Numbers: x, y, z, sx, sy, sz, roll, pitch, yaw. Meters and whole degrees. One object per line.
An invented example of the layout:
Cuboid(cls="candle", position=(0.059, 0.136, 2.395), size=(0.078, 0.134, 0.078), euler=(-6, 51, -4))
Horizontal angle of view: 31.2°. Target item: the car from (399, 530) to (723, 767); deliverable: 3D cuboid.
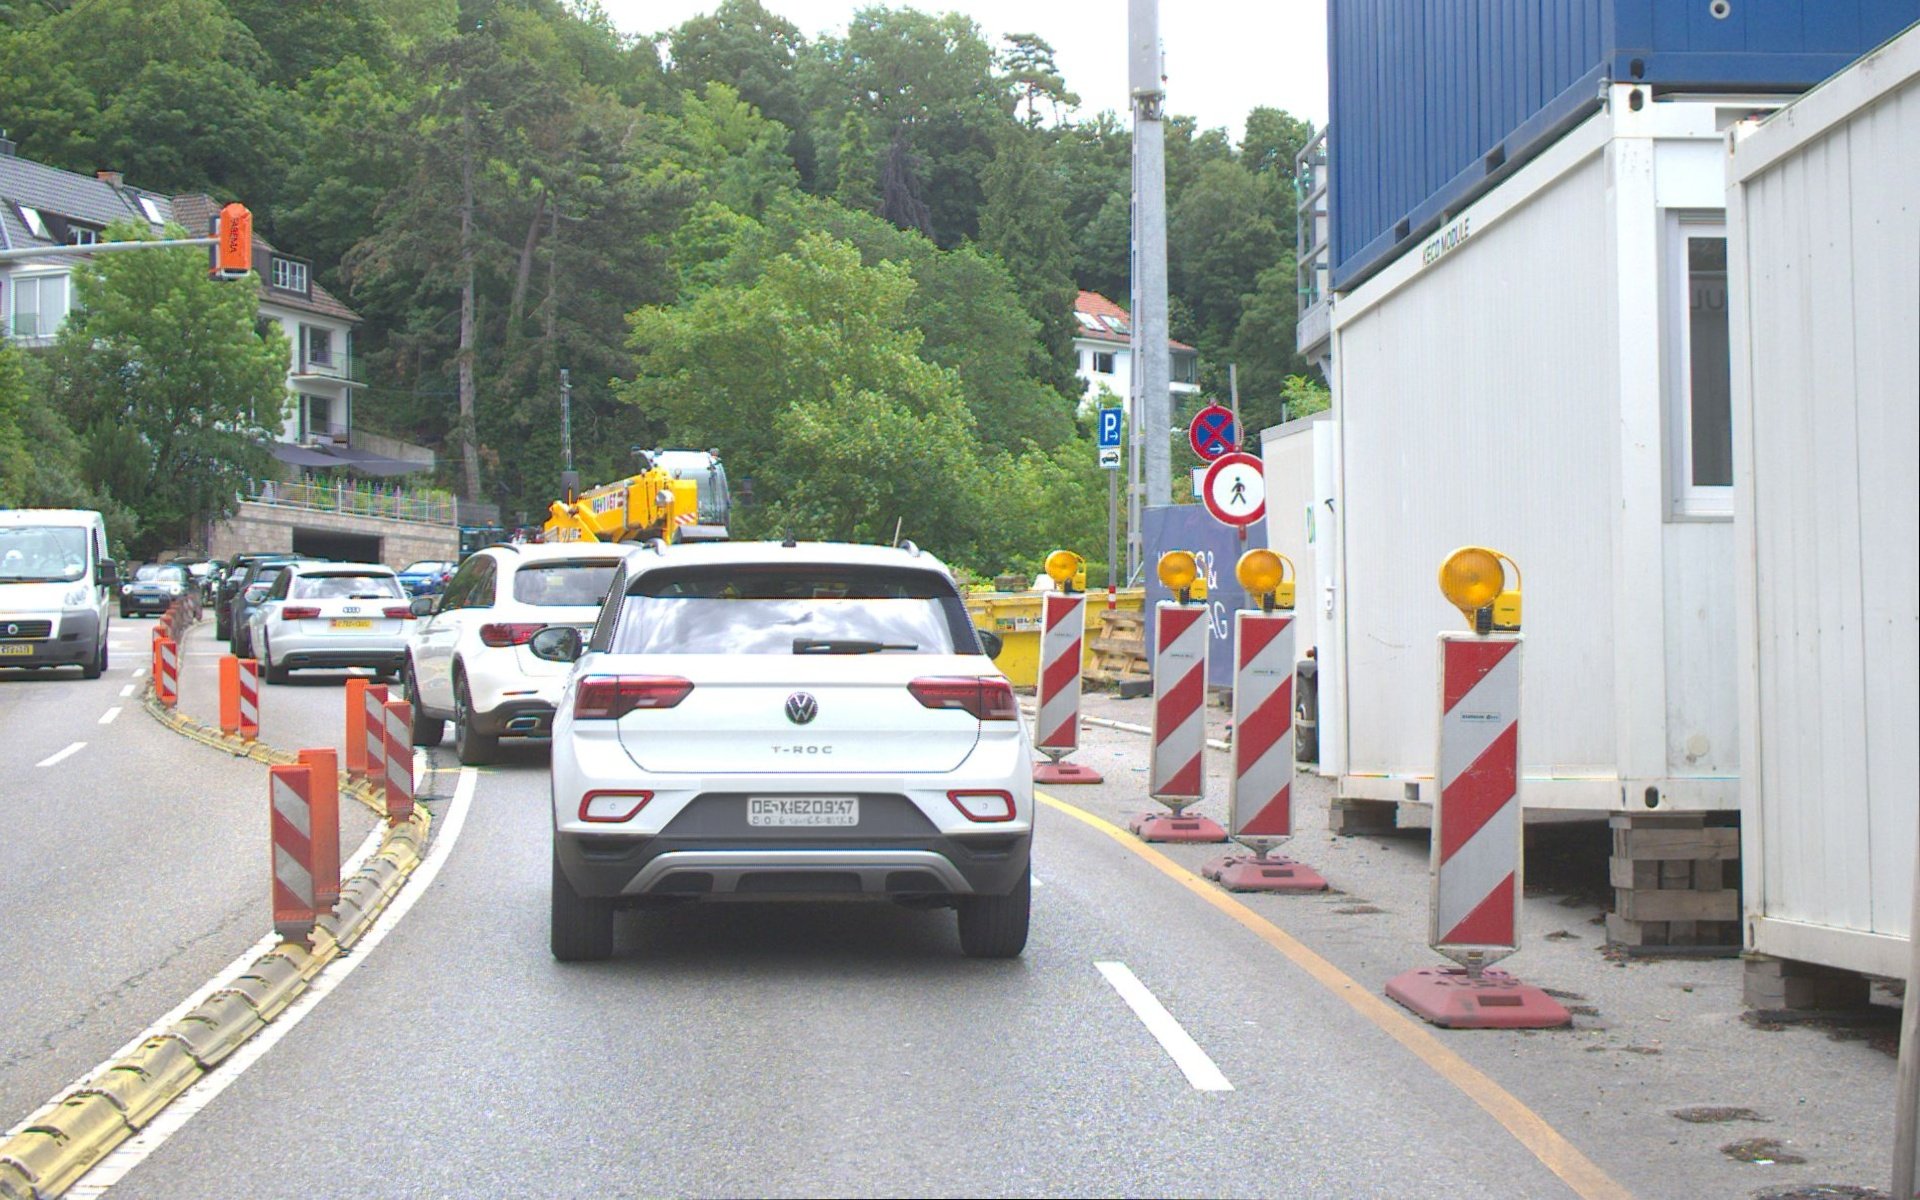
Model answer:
Cuboid(cls="car", position=(-3.153, 0.319, 26.490), size=(1.809, 1.657, 4.001), euler=(-1, 1, -16))

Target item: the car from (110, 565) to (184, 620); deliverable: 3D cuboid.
Cuboid(cls="car", position=(-21.629, -0.214, 91.573), size=(1.671, 1.425, 3.588), euler=(-1, 1, -9))

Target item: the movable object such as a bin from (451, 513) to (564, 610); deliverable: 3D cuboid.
Cuboid(cls="movable object such as a bin", position=(-12.804, -1.108, 97.494), size=(2.212, 2.654, 4.944), euler=(1, 1, 4))

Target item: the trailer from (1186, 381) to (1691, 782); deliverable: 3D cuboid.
Cuboid(cls="trailer", position=(3.287, -0.161, 24.864), size=(2.106, 2.541, 5.120), euler=(-2, 1, -10))

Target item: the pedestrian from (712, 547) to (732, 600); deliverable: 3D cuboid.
Cuboid(cls="pedestrian", position=(-8.673, -0.973, 125.401), size=(0.690, 1.900, 0.826), euler=(0, 1, -3))

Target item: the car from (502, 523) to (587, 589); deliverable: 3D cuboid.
Cuboid(cls="car", position=(-9.800, -1.029, 80.929), size=(1.794, 1.505, 4.001), euler=(0, 0, -10))

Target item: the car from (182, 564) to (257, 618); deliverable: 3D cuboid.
Cuboid(cls="car", position=(-22.581, -0.300, 104.973), size=(1.841, 1.594, 4.264), euler=(0, 1, -7))

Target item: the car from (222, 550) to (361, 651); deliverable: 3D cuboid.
Cuboid(cls="car", position=(-10.606, -0.019, 54.349), size=(1.794, 1.505, 4.001), euler=(-1, 1, -16))

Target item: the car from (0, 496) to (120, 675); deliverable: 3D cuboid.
Cuboid(cls="car", position=(-12.235, -0.212, 45.079), size=(2.066, 2.180, 4.964), euler=(-2, 1, -11))

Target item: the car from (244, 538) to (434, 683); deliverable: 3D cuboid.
Cuboid(cls="car", position=(-7.652, 0.096, 42.112), size=(1.809, 1.657, 4.001), euler=(-1, 1, -17))

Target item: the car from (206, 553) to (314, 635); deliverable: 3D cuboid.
Cuboid(cls="car", position=(-13.480, -0.133, 66.079), size=(1.794, 1.505, 4.001), euler=(-1, 1, -15))

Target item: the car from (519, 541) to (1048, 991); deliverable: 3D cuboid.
Cuboid(cls="car", position=(-0.745, 0.543, 13.894), size=(1.809, 1.526, 4.001), euler=(-1, 1, -4))

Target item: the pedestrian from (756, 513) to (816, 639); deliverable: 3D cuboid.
Cuboid(cls="pedestrian", position=(-2.480, -0.342, 48.990), size=(0.689, 1.789, 0.540), euler=(0, 1, -25))

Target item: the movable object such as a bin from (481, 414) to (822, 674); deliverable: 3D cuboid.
Cuboid(cls="movable object such as a bin", position=(-4.198, -0.714, 44.979), size=(2.810, 3.060, 7.825), euler=(1, 1, -17))
